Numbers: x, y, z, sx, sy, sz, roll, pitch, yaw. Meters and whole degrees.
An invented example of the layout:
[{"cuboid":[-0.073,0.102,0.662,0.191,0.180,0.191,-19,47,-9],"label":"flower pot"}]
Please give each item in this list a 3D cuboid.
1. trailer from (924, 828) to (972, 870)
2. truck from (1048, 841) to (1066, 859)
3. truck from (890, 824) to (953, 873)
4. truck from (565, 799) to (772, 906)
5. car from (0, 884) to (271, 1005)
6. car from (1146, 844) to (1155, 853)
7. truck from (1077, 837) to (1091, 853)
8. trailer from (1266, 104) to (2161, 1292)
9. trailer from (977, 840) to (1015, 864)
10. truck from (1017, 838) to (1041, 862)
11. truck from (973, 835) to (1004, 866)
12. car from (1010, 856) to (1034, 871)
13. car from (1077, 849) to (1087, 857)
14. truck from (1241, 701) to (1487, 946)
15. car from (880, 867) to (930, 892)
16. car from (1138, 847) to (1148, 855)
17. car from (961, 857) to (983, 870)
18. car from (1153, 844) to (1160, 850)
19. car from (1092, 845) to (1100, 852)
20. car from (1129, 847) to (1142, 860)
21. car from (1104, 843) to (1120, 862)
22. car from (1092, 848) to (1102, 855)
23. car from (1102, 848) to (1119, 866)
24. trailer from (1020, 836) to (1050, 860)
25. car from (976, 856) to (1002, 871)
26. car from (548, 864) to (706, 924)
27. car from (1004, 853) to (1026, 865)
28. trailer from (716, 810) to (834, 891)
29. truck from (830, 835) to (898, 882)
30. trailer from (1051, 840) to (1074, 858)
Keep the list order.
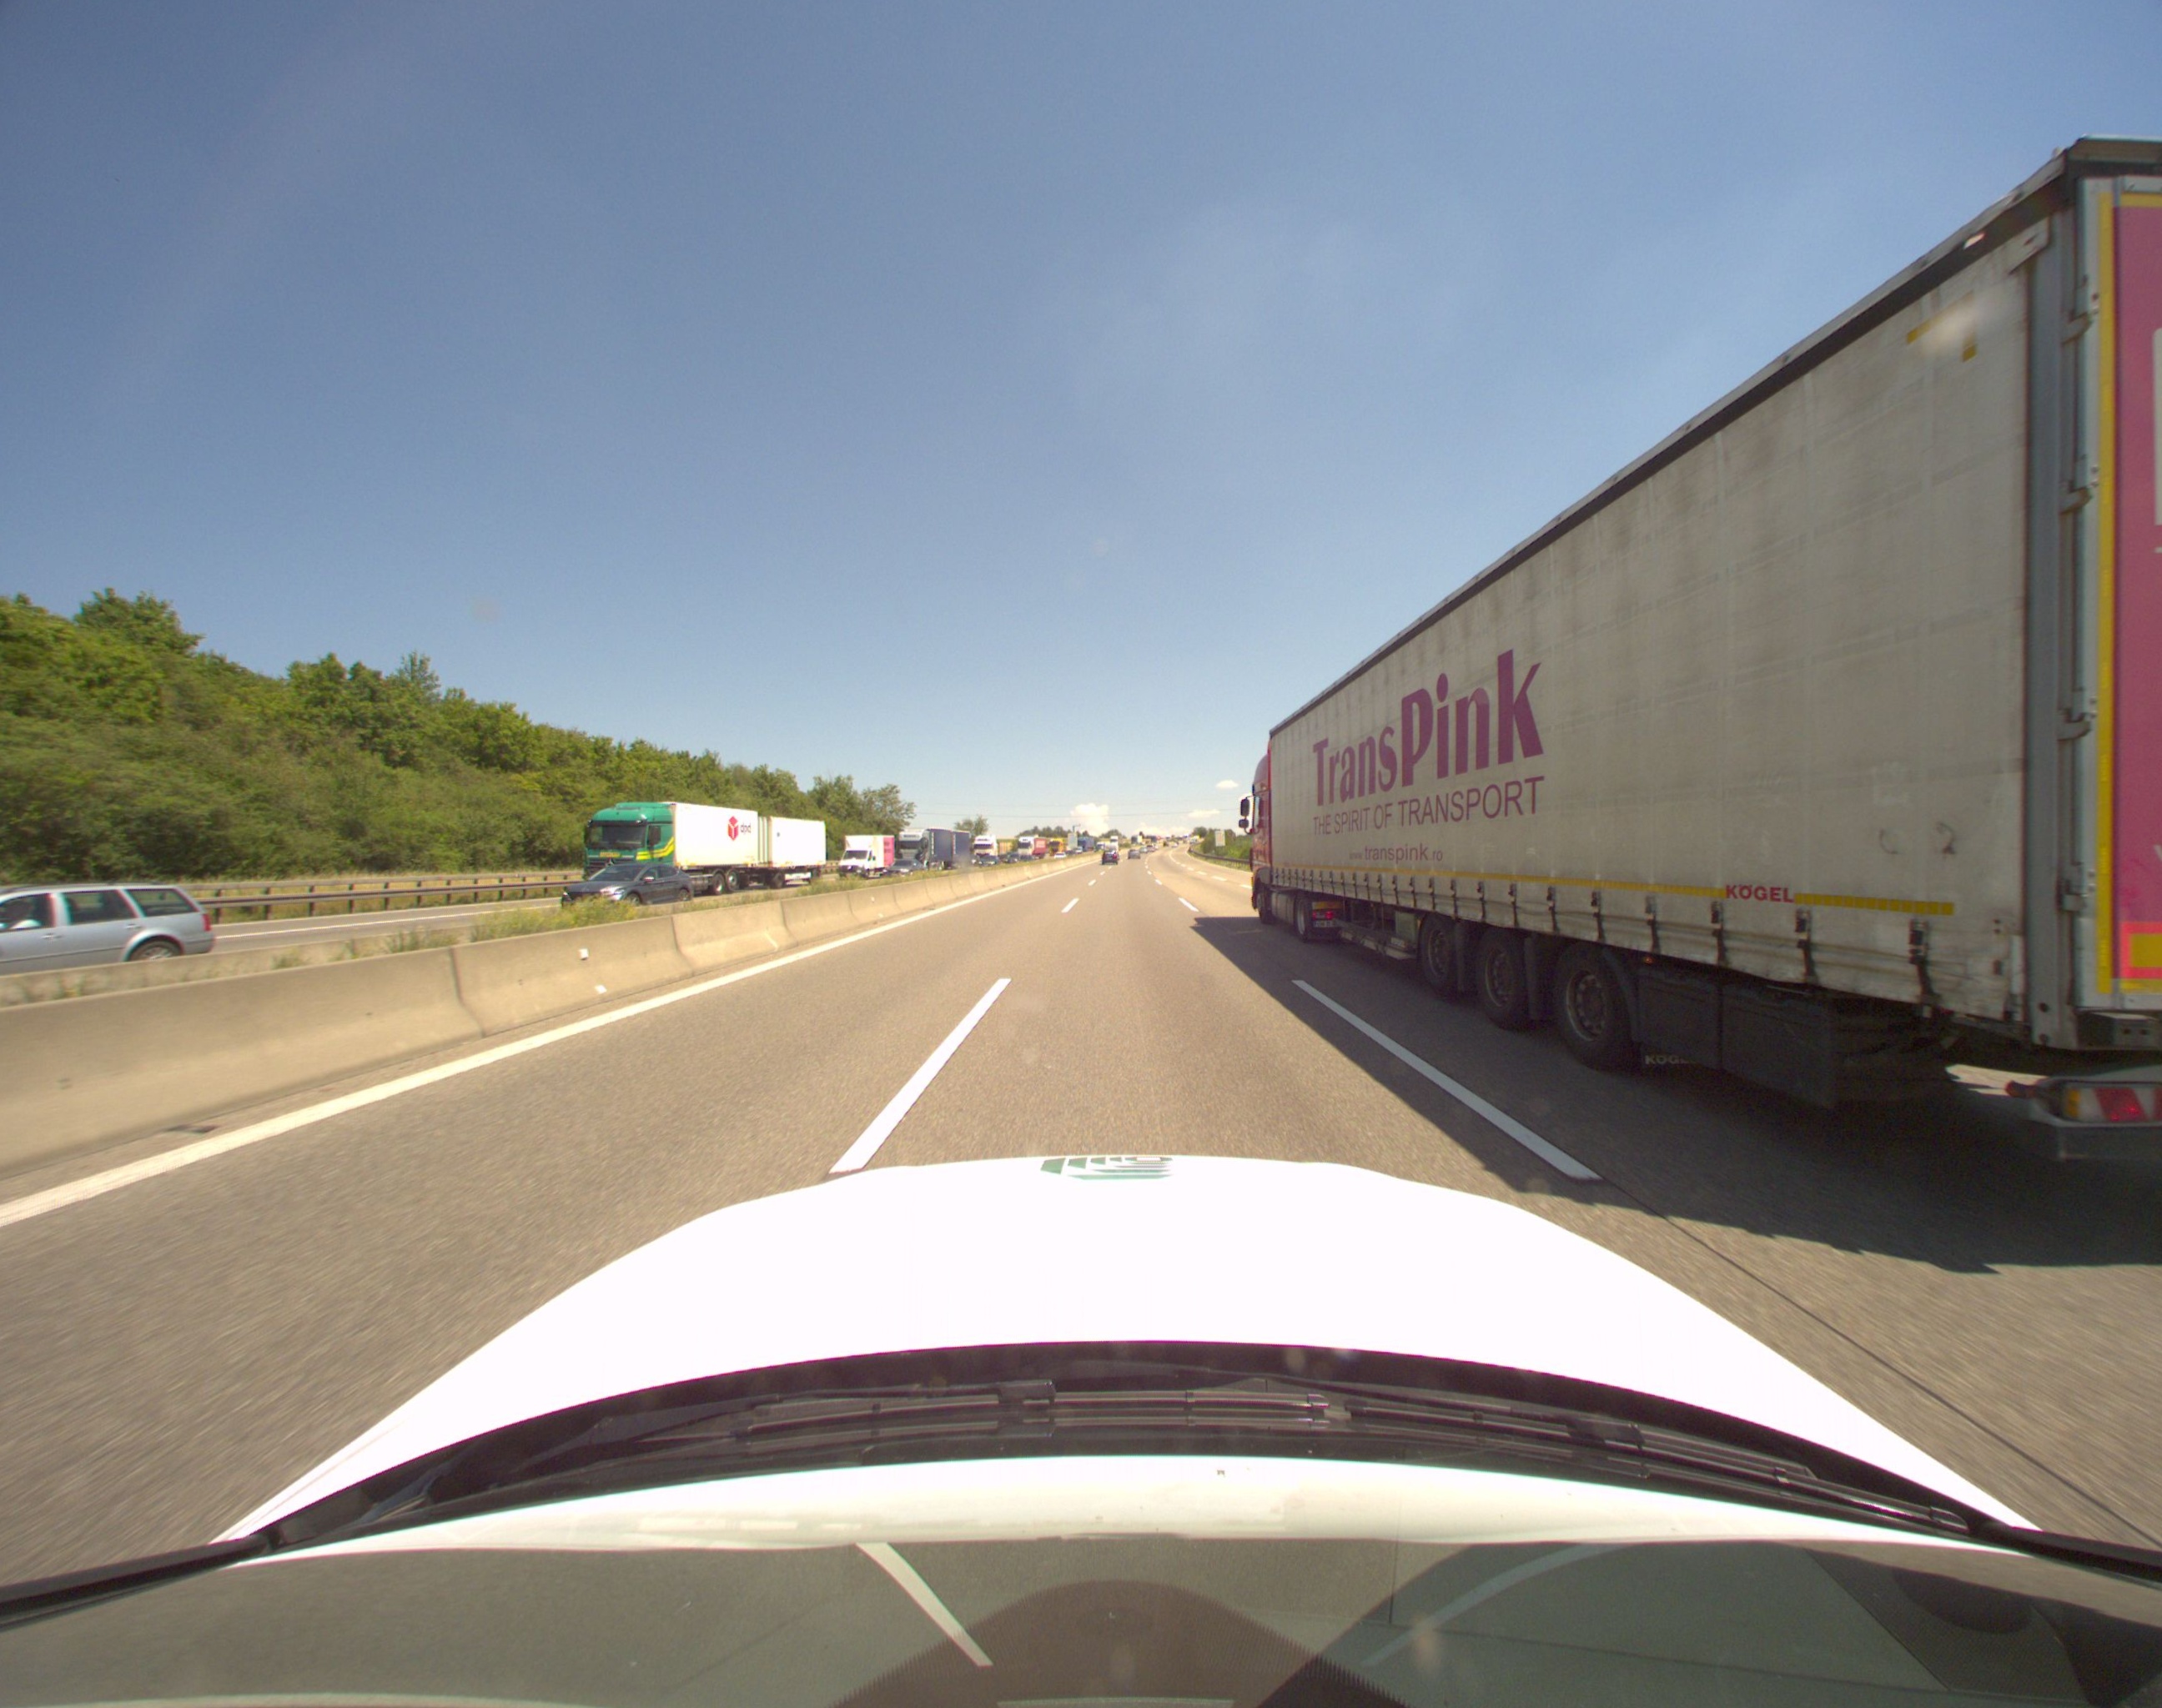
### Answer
[{"cuboid":[-14.011,-0.549,86.498,2.972,4.192,8.606,-1,0,5],"label":"trailer"},{"cuboid":[-5.257,-1.007,180.936,2.736,3.837,7.114,-1,1,8],"label":"truck"},{"cuboid":[-14.821,-0.524,76.706,2.987,4.234,10.746,-1,0,4],"label":"truck"},{"cuboid":[-17.584,-0.077,36.100,2.831,3.899,11.256,-2,0,3],"label":"truck"},{"cuboid":[-14.193,1.161,10.886,1.745,1.460,4.859,0,-2,1],"label":"car"},{"cuboid":[17.195,-1.321,200.726,1.986,1.904,4.000,-1,-2,1],"label":"car"},{"cuboid":[0.977,-2.600,225.349,2.769,4.335,10.670,0,2,6],"label":"truck"},{"cuboid":[5.062,-0.533,9.734,2.907,4.117,13.862,0,0,2],"label":"trailer"},{"cuboid":[-11.614,-0.324,112.820,2.845,3.205,12.800,0,0,5],"label":"trailer"},{"cuboid":[-9.008,-0.685,141.349,3.020,4.081,6.325,-1,0,6],"label":"truck"},{"cuboid":[-12.125,-0.495,106.882,2.887,3.876,6.186,0,0,4],"label":"truck"},{"cuboid":[-6.455,1.005,89.855,1.985,1.527,4.777,0,0,3],"label":"car"},{"cuboid":[0.157,-0.191,187.614,1.905,1.772,4.768,0,0,4],"label":"car"},{"cuboid":[5.270,-0.489,16.615,2.905,4.008,6.513,0,0,1],"label":"truck"},{"cuboid":[-12.172,1.729,56.678,1.985,1.545,5.498,-1,0,2],"label":"car"},{"cuboid":[13.785,-0.642,180.004,1.983,1.585,4.006,-2,-1,6],"label":"car"},{"cuboid":[-12.881,1.147,96.072,1.649,1.431,4.653,-1,0,4],"label":"car"},{"cuboid":[21.325,-1.886,230.633,1.984,1.551,4.006,0,2,5],"label":"car"},{"cuboid":[4.604,-1.684,249.312,2.191,1.997,4.495,0,2,8],"label":"car"},{"cuboid":[8.468,-0.070,126.537,1.984,1.750,4.004,0,-2,4],"label":"car"},{"cuboid":[4.412,-0.193,115.781,2.171,2.625,4.674,0,-2,2],"label":"car"},{"cuboid":[3.968,-0.536,198.863,2.040,1.696,5.262,0,0,4],"label":"car"},{"cuboid":[3.334,0.325,92.373,1.840,1.861,4.208,-1,2,2],"label":"car"},{"cuboid":[-8.213,-1.091,148.393,3.070,4.100,14.408,-1,1,7],"label":"trailer"},{"cuboid":[-9.760,1.028,86.883,1.985,1.527,4.777,0,0,3],"label":"car"},{"cuboid":[-13.806,1.190,25.206,1.854,1.642,5.115,-1,-2,2],"label":"car"},{"cuboid":[-8.559,0.647,105.940,1.985,1.455,5.175,-1,0,4],"label":"car"},{"cuboid":[-16.977,-0.174,45.947,2.907,4.071,8.238,-2,0,4],"label":"trailer"},{"cuboid":[-15.744,0.273,59.646,2.528,3.207,7.595,-1,0,3],"label":"truck"},{"cuboid":[-4.170,-1.255,188.074,2.936,4.100,14.413,-1,1,8],"label":"trailer"}]
